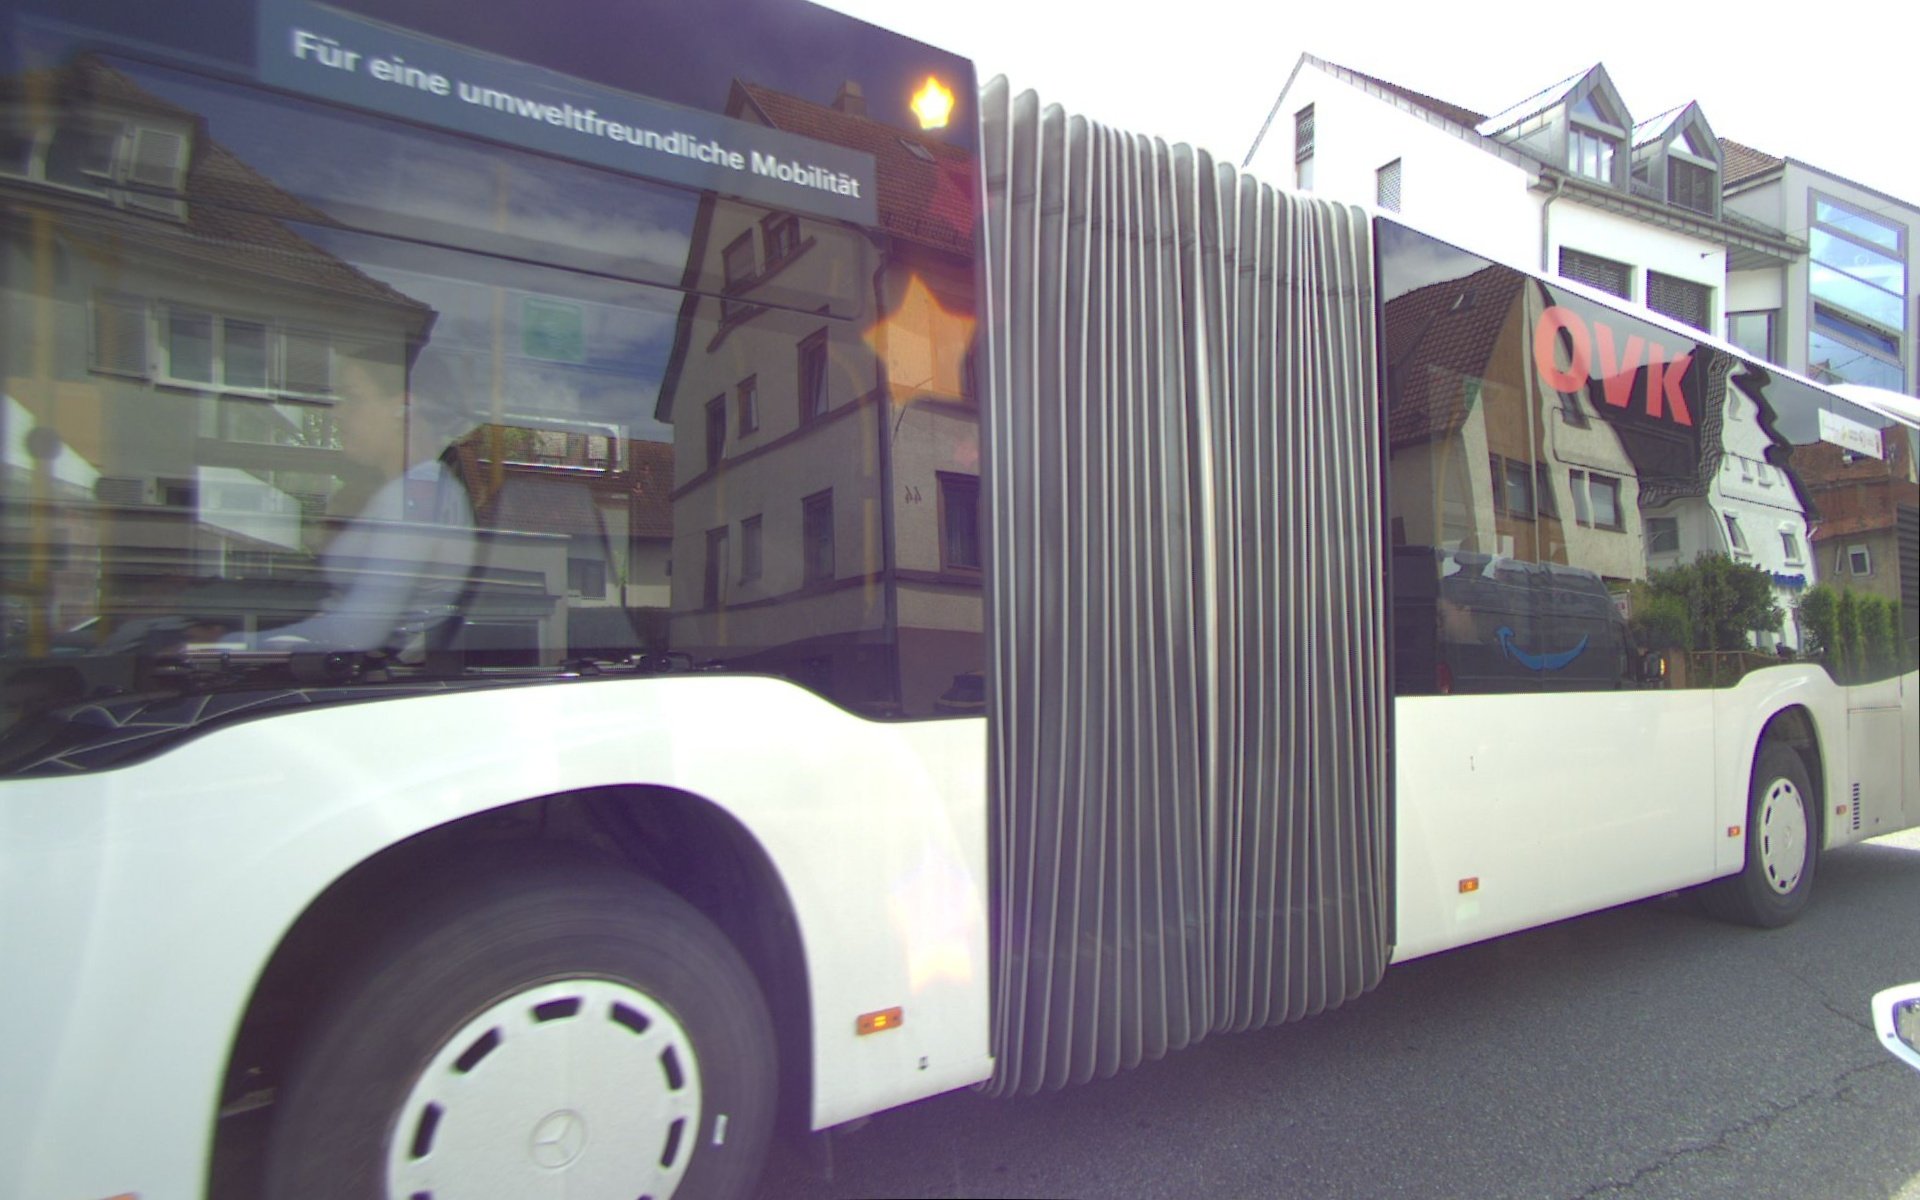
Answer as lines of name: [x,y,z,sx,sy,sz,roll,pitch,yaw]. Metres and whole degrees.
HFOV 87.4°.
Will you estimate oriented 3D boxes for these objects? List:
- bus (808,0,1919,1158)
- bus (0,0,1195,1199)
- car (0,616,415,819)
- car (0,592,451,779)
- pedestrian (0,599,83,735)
bus: [3.306,0.019,6.092,7.983,3.205,2.700,2,-2,-34]
bus: [-4.296,-0.256,1.063,10.075,3.205,2.667,2,-2,-33]
car: [-6.976,0.817,7.686,4.790,1.376,1.945,1,-1,-26]
car: [-7.949,0.822,10.135,4.859,1.640,1.947,1,-4,-23]
pedestrian: [-12.042,0.855,12.873,0.981,1.693,0.716,1,-3,-24]
